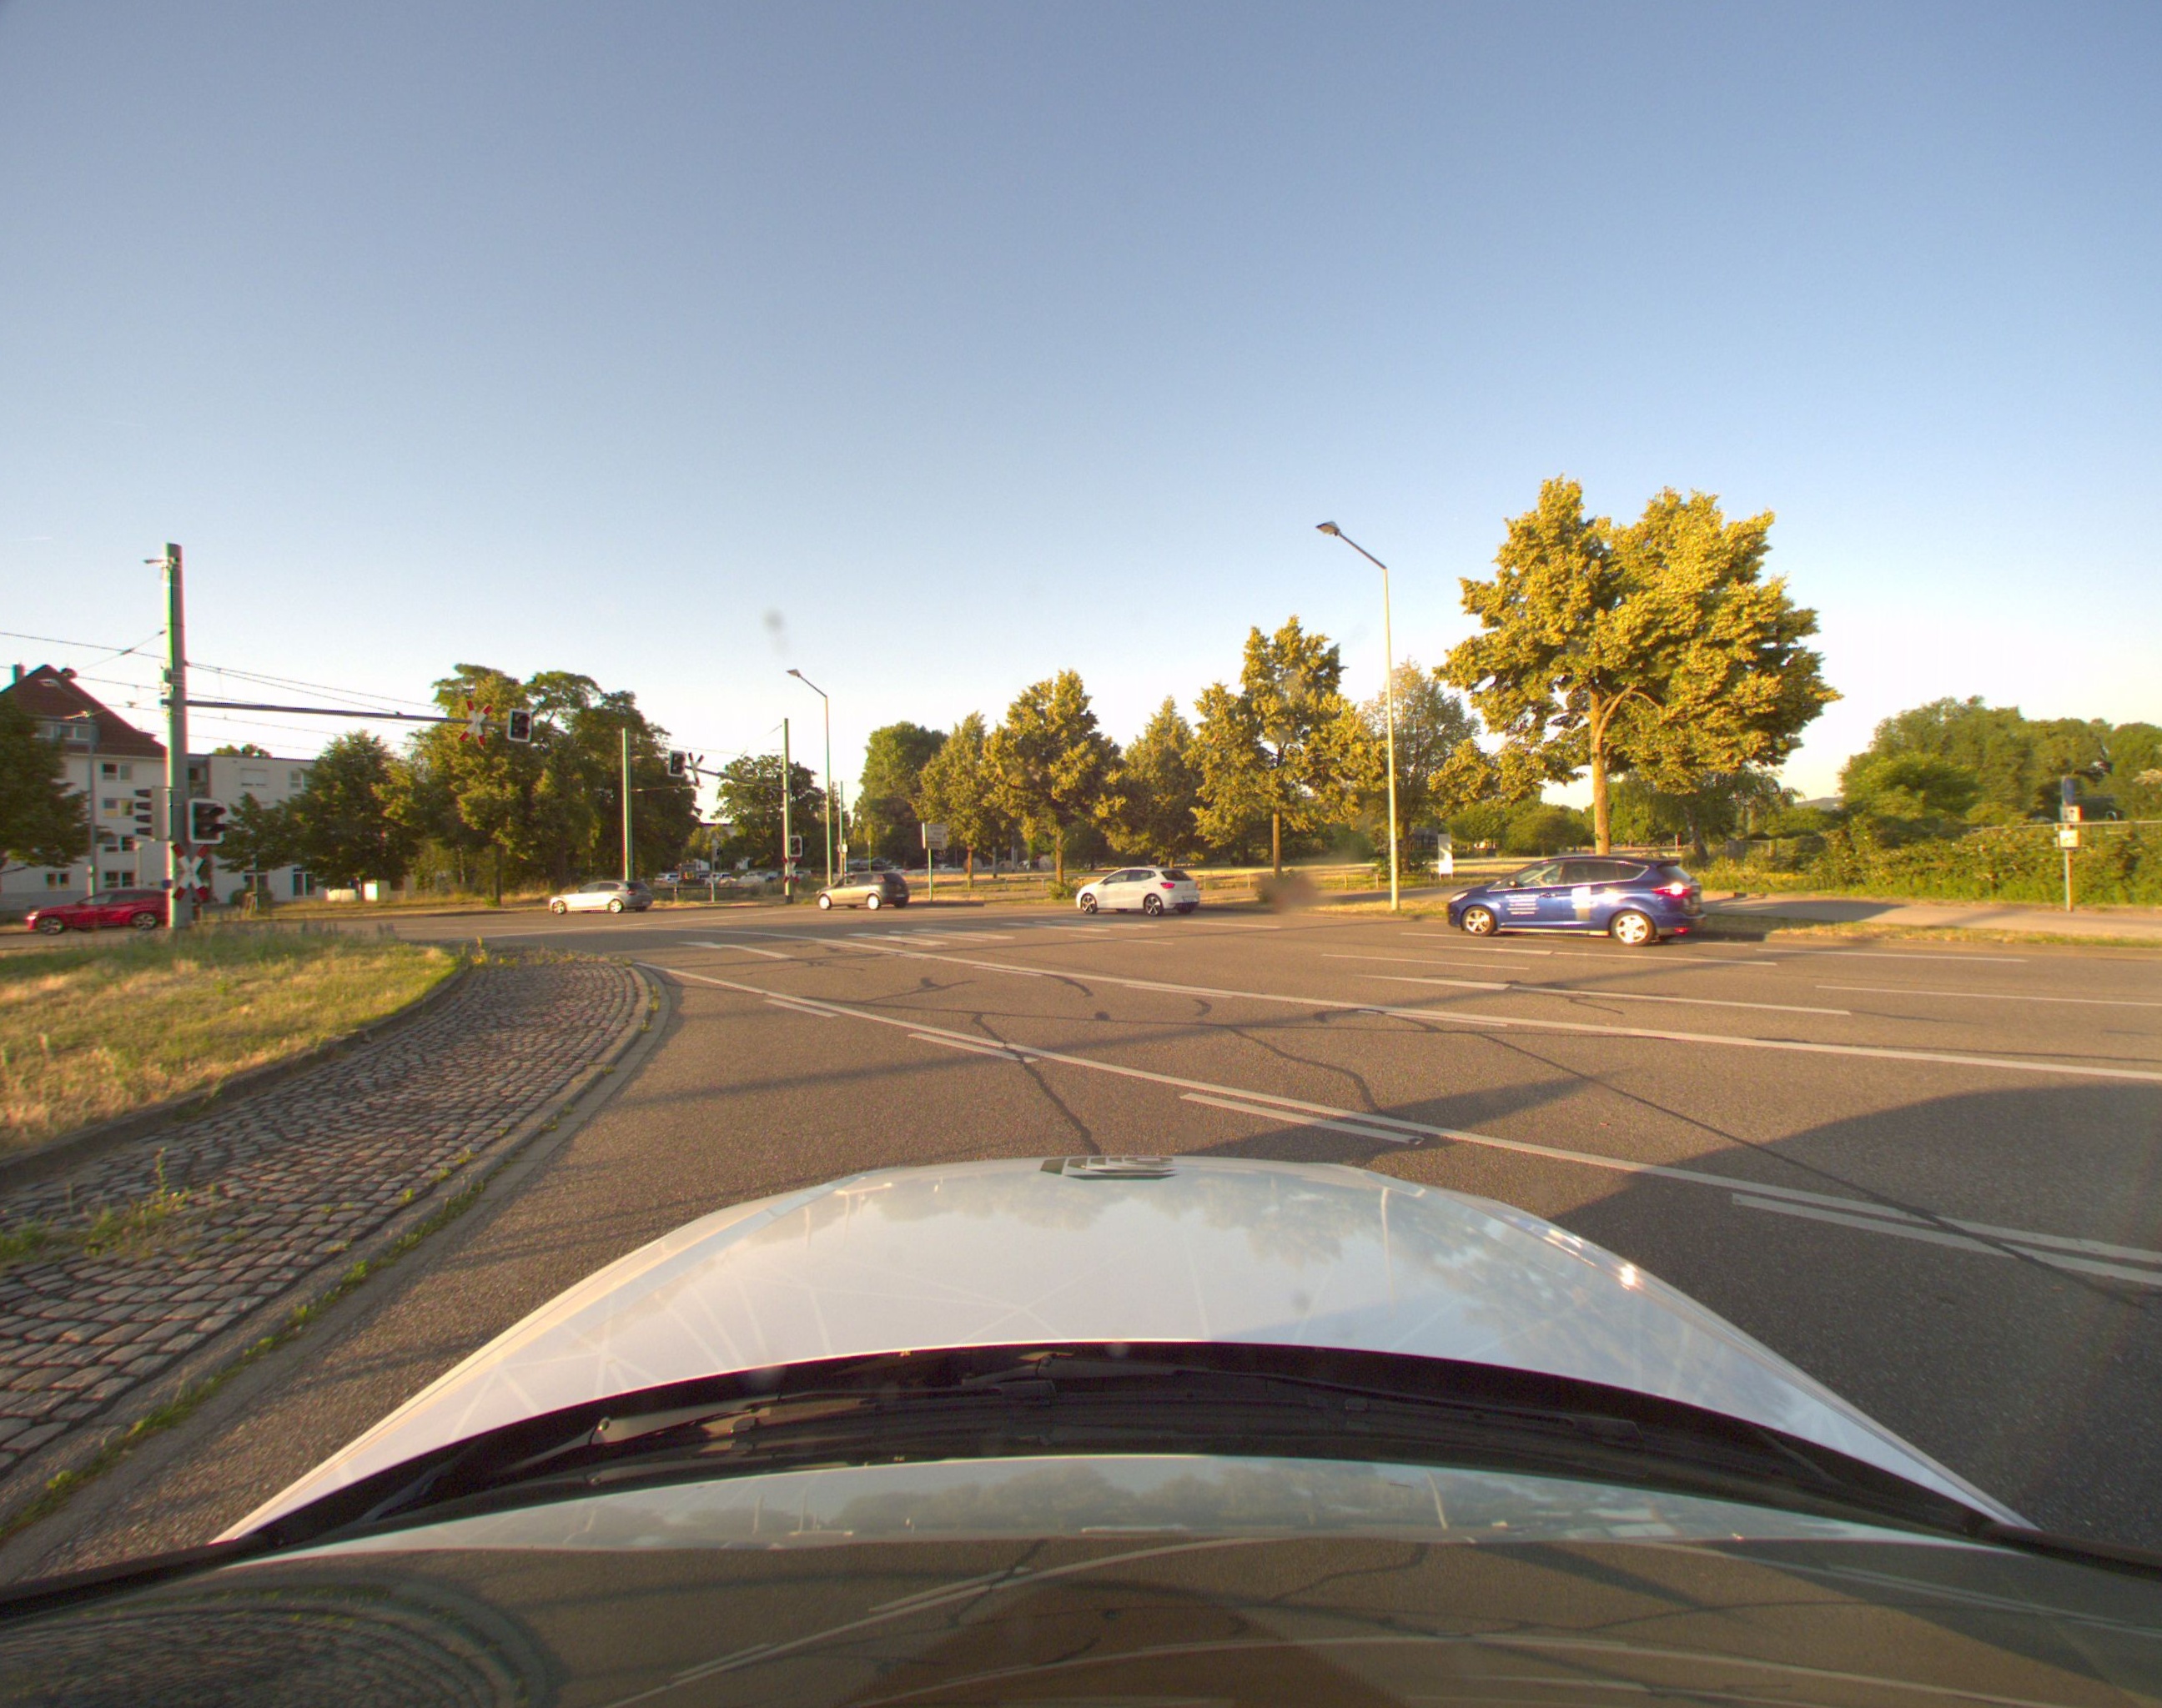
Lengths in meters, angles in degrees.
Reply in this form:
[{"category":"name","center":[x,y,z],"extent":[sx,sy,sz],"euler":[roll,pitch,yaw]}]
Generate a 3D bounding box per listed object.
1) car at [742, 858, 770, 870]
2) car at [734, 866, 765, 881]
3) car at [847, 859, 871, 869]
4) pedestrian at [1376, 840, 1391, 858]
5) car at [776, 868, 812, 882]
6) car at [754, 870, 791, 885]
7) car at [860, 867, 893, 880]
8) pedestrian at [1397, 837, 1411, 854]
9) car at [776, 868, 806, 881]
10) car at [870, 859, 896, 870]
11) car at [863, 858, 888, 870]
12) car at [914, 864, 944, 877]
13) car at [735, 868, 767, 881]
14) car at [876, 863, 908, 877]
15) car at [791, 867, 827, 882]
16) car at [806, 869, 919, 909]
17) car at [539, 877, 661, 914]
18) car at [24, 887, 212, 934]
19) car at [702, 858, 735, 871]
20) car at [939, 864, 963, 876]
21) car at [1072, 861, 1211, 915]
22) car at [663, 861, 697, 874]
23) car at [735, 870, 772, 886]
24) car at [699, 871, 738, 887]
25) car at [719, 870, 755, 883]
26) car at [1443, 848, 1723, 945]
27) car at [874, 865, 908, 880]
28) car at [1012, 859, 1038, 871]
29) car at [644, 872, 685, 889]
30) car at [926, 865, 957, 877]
[{"category":"car","center":[-57.809,1.819,144.947],"extent":[1.974,2.013,4.143],"euler":[-2,0,36]},{"category":"car","center":[-48.253,2.794,118.591],"extent":[4.006,2.013,1.984],"euler":[-2,0,-24]},{"category":"car","center":[-41.718,1.902,153.033],"extent":[1.974,1.816,4.026],"euler":[-2,0,37]},{"category":"pedestrian","center":[29.153,-0.477,78.550],"extent":[1.064,1.617,0.911],"euler":[-2,0,4]},{"category":"car","center":[-33.677,2.459,95.441],"extent":[3.948,1.604,2.013],"euler":[-2,0,34]},{"category":"car","center":[-35.485,2.718,93.682],"extent":[3.948,1.604,2.013],"euler":[-2,0,34]},{"category":"car","center":[-26.647,2.494,105.997],"extent":[3.948,1.604,2.013],"euler":[-2,0,34]},{"category":"pedestrian","center":[31.077,-0.838,78.364],"extent":[1.064,1.617,0.911],"euler":[-2,0,4]},{"category":"car","center":[-41.274,2.894,116.007],"extent":[4.001,1.662,1.889],"euler":[-2,0,-20]},{"category":"car","center":[-35.654,1.902,146.448],"extent":[3.964,1.706,2.005],"euler":[-2,0,8]},{"category":"car","center":[-37.930,1.792,150.054],"extent":[1.975,2.013,4.025],"euler":[-2,0,42]},{"category":"car","center":[-21.442,2.326,114.796],"extent":[3.948,1.604,2.013],"euler":[-2,0,34]},{"category":"car","center":[-46.204,2.796,113.956],"extent":[4.005,1.662,1.984],"euler":[-2,0,-24]},{"category":"car","center":[-29.351,2.427,126.710],"extent":[4.578,2.013,1.995],"euler":[-2,0,-7]},{"category":"car","center":[-32.612,2.469,97.620],"extent":[3.948,1.604,2.013],"euler":[-2,0,34]},{"category":"car","center":[-8.594,1.370,32.001],"extent":[4.109,1.454,1.879],"euler":[-2,-1,29]},{"category":"car","center":[-20.640,1.770,35.040],"extent":[4.129,1.390,1.871],"euler":[-2,0,5]},{"category":"car","center":[-38.267,2.200,32.514],"extent":[4.413,1.573,1.988],"euler":[-2,0,-18]},{"category":"car","center":[-61.897,1.803,139.077],"extent":[1.974,2.013,4.628],"euler":[-2,0,36]},{"category":"car","center":[-20.796,2.539,129.972],"extent":[2.008,1.752,4.549],"euler":[-1,1,-35]},{"category":"car","center":[1.791,1.015,24.979],"extent":[3.921,1.454,1.879],"euler":[-2,0,44]},{"category":"car","center":[-65.637,2.247,133.339],"extent":[1.974,2.013,4.627],"euler":[-2,0,32]},{"category":"car","center":[-37.030,2.716,92.072],"extent":[3.948,1.604,2.013],"euler":[-2,0,34]},{"category":"car","center":[-39.000,2.694,87.553],"extent":[3.948,1.604,2.013],"euler":[-2,0,34]},{"category":"car","center":[-46.090,3.026,109.157],"extent":[1.878,1.662,4.026],"euler":[-2,0,37]},{"category":"car","center":[9.419,0.730,15.550],"extent":[1.926,1.583,4.131],"euler":[0,-1,-41]},{"category":"car","center":[-27.626,2.695,118.522],"extent":[4.578,2.013,1.995],"euler":[-2,0,-7]},{"category":"car","center":[-7.930,1.534,115.270],"extent":[1.748,1.618,3.954],"euler":[-1,0,-39]},{"category":"car","center":[-42.631,2.686,83.336],"extent":[3.948,1.604,2.013],"euler":[-2,0,34]},{"category":"car","center":[-19.967,2.383,116.490],"extent":[3.948,1.604,2.013],"euler":[-2,0,34]}]
